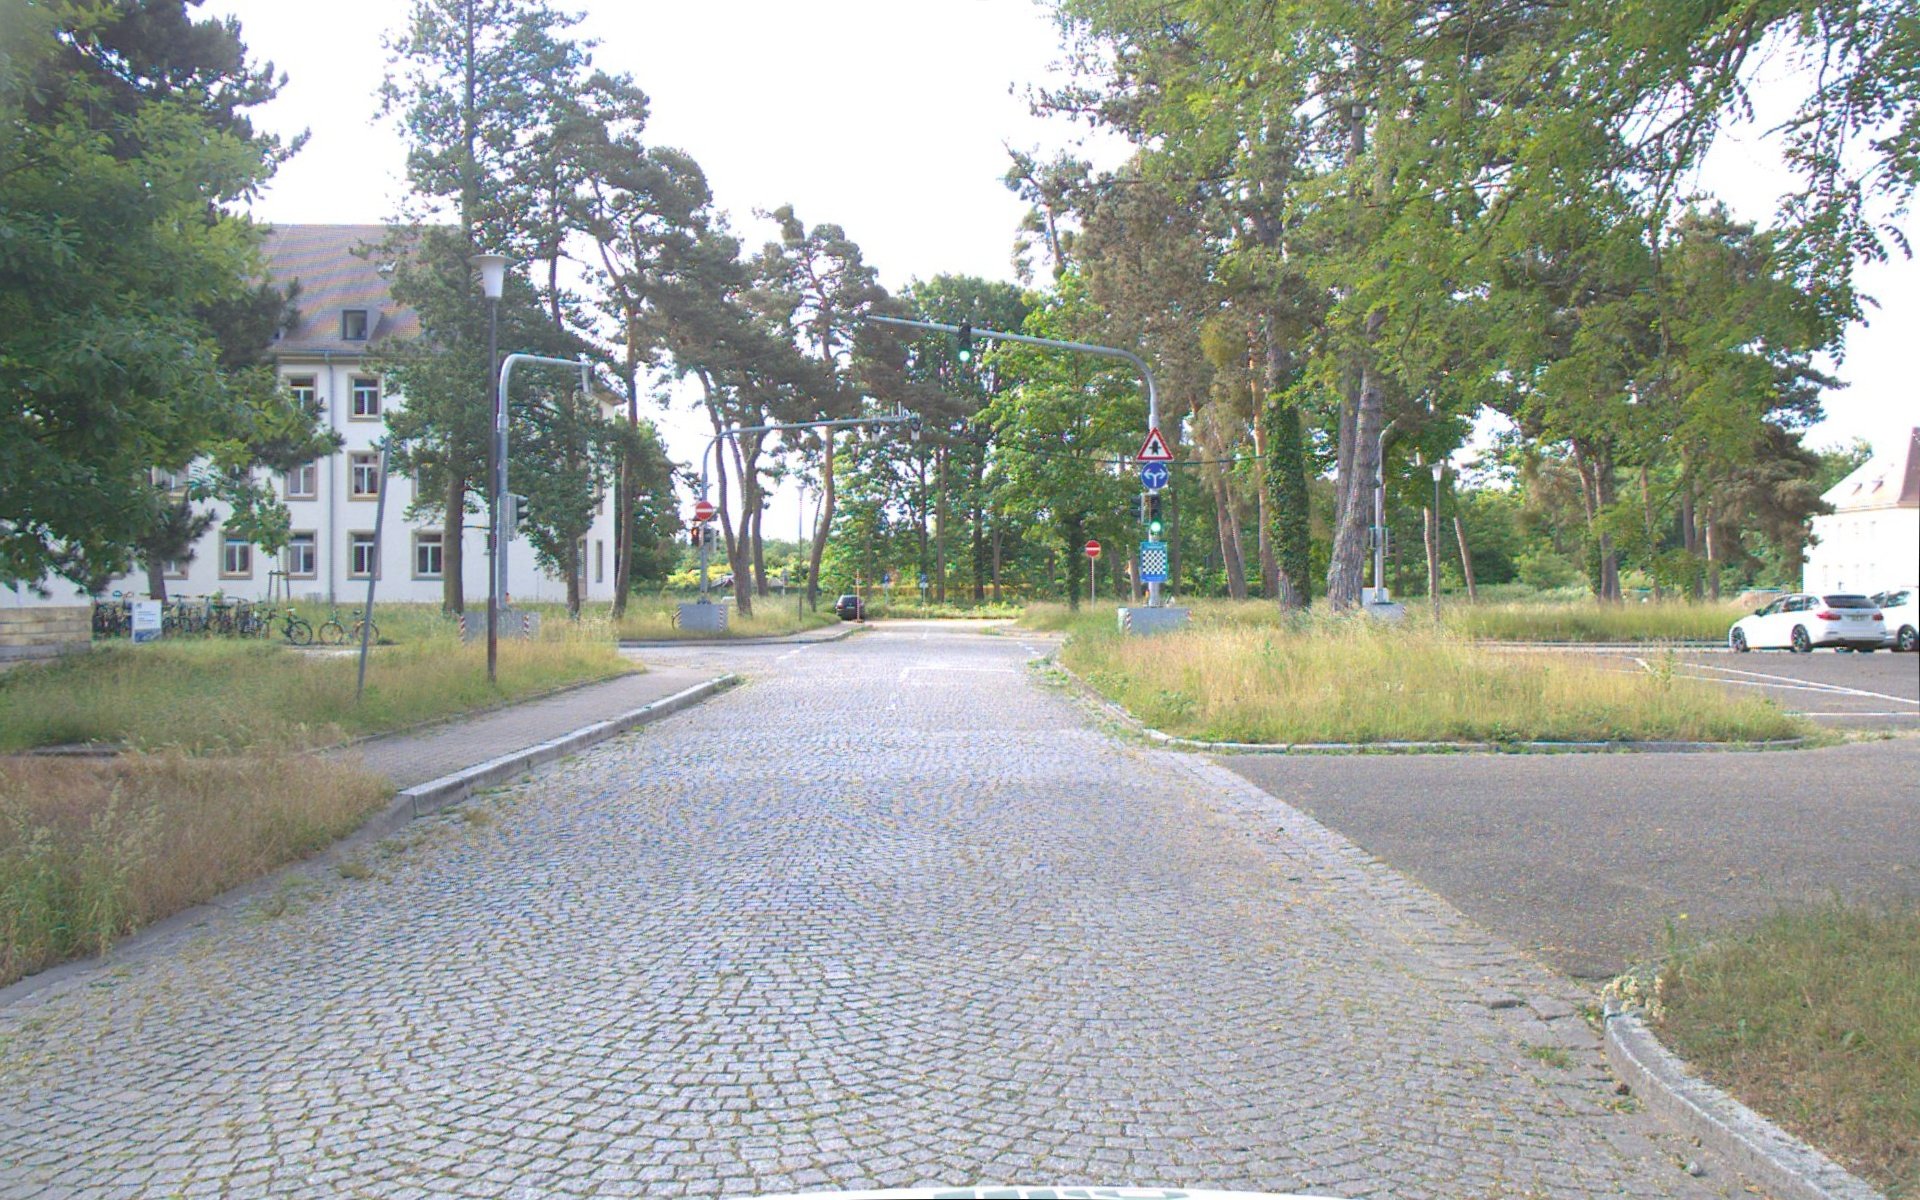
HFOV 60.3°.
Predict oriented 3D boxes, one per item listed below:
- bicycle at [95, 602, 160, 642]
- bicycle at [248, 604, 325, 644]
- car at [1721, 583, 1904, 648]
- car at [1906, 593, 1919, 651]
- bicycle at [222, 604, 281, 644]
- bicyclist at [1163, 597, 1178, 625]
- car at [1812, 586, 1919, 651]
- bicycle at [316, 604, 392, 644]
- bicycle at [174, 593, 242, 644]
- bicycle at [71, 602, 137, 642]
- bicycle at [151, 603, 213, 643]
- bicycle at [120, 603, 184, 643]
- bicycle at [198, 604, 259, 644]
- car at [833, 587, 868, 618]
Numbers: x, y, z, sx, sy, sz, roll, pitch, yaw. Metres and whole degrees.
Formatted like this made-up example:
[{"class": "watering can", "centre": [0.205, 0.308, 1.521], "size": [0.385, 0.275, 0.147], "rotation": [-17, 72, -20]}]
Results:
[{"class": "bicycle", "centre": [-23.664, 0.625, 47.049], "size": [0.721, 1.095, 2.273], "rotation": [0, 0, 0]}, {"class": "bicycle", "centre": [-18.690, 0.657, 45.922], "size": [1.818, 1.095, 0.738], "rotation": [0, 0, 1]}, {"class": "car", "centre": [20.733, 0.403, 40.446], "size": [1.954, 1.507, 4.421], "rotation": [0, -1, -4]}, {"class": "car", "centre": [25.808, 0.529, 41.008], "size": [1.954, 1.507, 4.421], "rotation": [0, -1, -4]}, {"class": "bicycle", "centre": [-20.167, 0.664, 47.147], "size": [0.721, 1.095, 2.273], "rotation": [0, 0, 0]}, {"class": "bicyclist", "centre": [12.894, 0.654, 101.538], "size": [0.737, 1.700, 0.524], "rotation": [1, -1, -16]}, {"class": "car", "centre": [23.197, 0.464, 40.669], "size": [1.954, 1.507, 4.421], "rotation": [0, -1, -4]}, {"class": "bicycle", "centre": [-16.839, 0.659, 45.993], "size": [1.818, 1.095, 0.831], "rotation": [0, 0, 1]}, {"class": "bicycle", "centre": [-21.530, 0.519, 47.399], "size": [0.721, 1.410, 2.711], "rotation": [0, 0, 0]}, {"class": "bicycle", "centre": [-24.362, 0.616, 47.115], "size": [0.721, 1.095, 2.273], "rotation": [0, 0, 0]}, {"class": "bicycle", "centre": [-22.318, 0.653, 47.494], "size": [0.721, 1.095, 2.273], "rotation": [0, 0, 0]}, {"class": "bicycle", "centre": [-22.945, 0.628, 46.990], "size": [0.721, 1.095, 2.273], "rotation": [0, 0, 0]}, {"class": "bicycle", "centre": [-20.795, 0.671, 47.056], "size": [0.721, 1.095, 2.273], "rotation": [0, 0, 0]}, {"class": "car", "centre": [-6.803, 0.147, 103.500], "size": [2.014, 1.878, 3.999], "rotation": [0, 0, -2]}]
